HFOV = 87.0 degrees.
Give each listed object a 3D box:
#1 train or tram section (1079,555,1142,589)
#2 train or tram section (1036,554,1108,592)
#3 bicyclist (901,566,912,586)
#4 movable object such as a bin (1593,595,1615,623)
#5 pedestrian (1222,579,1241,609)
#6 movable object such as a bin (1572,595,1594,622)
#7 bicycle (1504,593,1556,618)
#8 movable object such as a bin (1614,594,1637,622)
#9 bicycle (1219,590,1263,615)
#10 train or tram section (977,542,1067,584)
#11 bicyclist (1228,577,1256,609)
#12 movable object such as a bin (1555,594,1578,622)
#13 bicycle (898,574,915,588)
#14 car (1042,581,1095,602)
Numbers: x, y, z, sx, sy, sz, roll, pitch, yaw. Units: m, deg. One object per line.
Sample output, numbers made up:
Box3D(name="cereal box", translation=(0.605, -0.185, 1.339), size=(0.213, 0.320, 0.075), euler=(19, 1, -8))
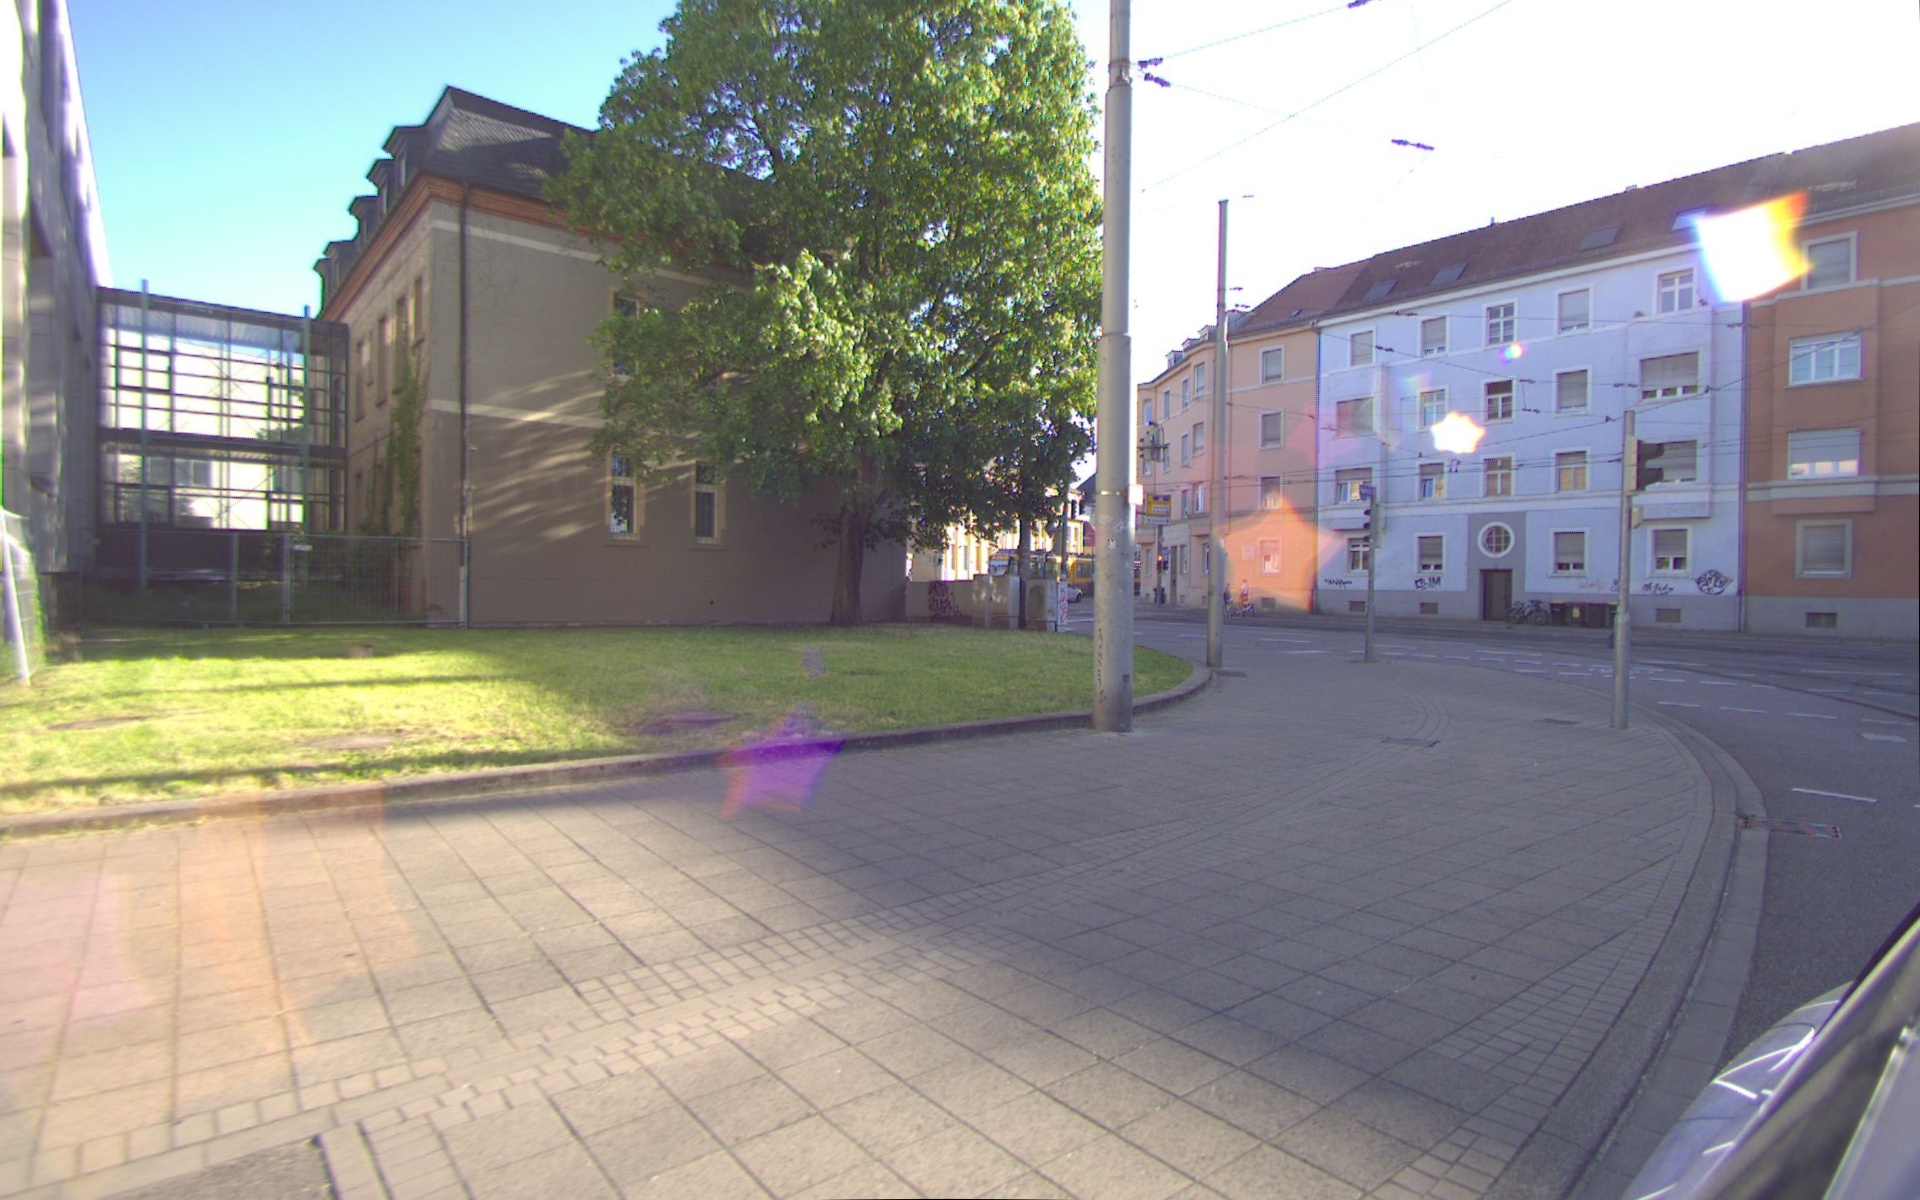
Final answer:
Box3D(name="train or tram section", translation=(15.880, -2.972, 106.087), size=(3.137, 3.397, 10.744), euler=(1, 2, 28))
Box3D(name="train or tram section", translation=(10.806, -2.637, 96.729), size=(3.137, 3.397, 10.577), euler=(1, 2, 28))
Box3D(name="bicyclist", translation=(-4.519, -2.000, 85.521), size=(0.670, 1.660, 0.932), euler=(1, 2, 24))
Box3D(name="movable object such as a bin", translation=(26.407, 0.357, 41.489), size=(0.692, 1.120, 0.582), euler=(0, 1, -40))
Box3D(name="pedestrian", translation=(14.845, -0.324, 55.267), size=(0.665, 1.583, 0.720), euler=(0, 1, -38))
Box3D(name="movable object such as a bin", translation=(25.940, 0.353, 42.106), size=(0.692, 1.120, 0.582), euler=(0, 1, -40))
Box3D(name="bicycle", translation=(24.610, 0.227, 43.722), size=(0.596, 0.992, 1.875), euler=(-1, 2, -40))
Box3D(name="movable object such as a bin", translation=(26.863, 0.325, 40.846), size=(0.692, 1.120, 0.582), euler=(0, 1, -40))
Box3D(name="bicycle", translation=(14.556, 0.122, 52.477), size=(0.735, 1.205, 2.150), euler=(0, 1, -39))
Box3D(name="train or tram section", translation=(5.518, -3.065, 86.960), size=(3.139, 3.362, 11.701), euler=(1, 1, 28))
Box3D(name="bicyclist", translation=(14.601, -0.376, 52.422), size=(0.735, 1.663, 1.125), euler=(0, 1, -39))
Box3D(name="movable object such as a bin", translation=(25.526, 0.323, 42.603), size=(0.692, 1.120, 0.648), euler=(0, 1, -40))
Box3D(name="bicycle", translation=(-4.505, -1.596, 85.531), size=(0.678, 1.150, 2.058), euler=(1, 2, 23))
Box3D(name="car", translation=(7.551, -0.617, 70.299), size=(1.783, 1.411, 4.049), euler=(1, 1, 38))
